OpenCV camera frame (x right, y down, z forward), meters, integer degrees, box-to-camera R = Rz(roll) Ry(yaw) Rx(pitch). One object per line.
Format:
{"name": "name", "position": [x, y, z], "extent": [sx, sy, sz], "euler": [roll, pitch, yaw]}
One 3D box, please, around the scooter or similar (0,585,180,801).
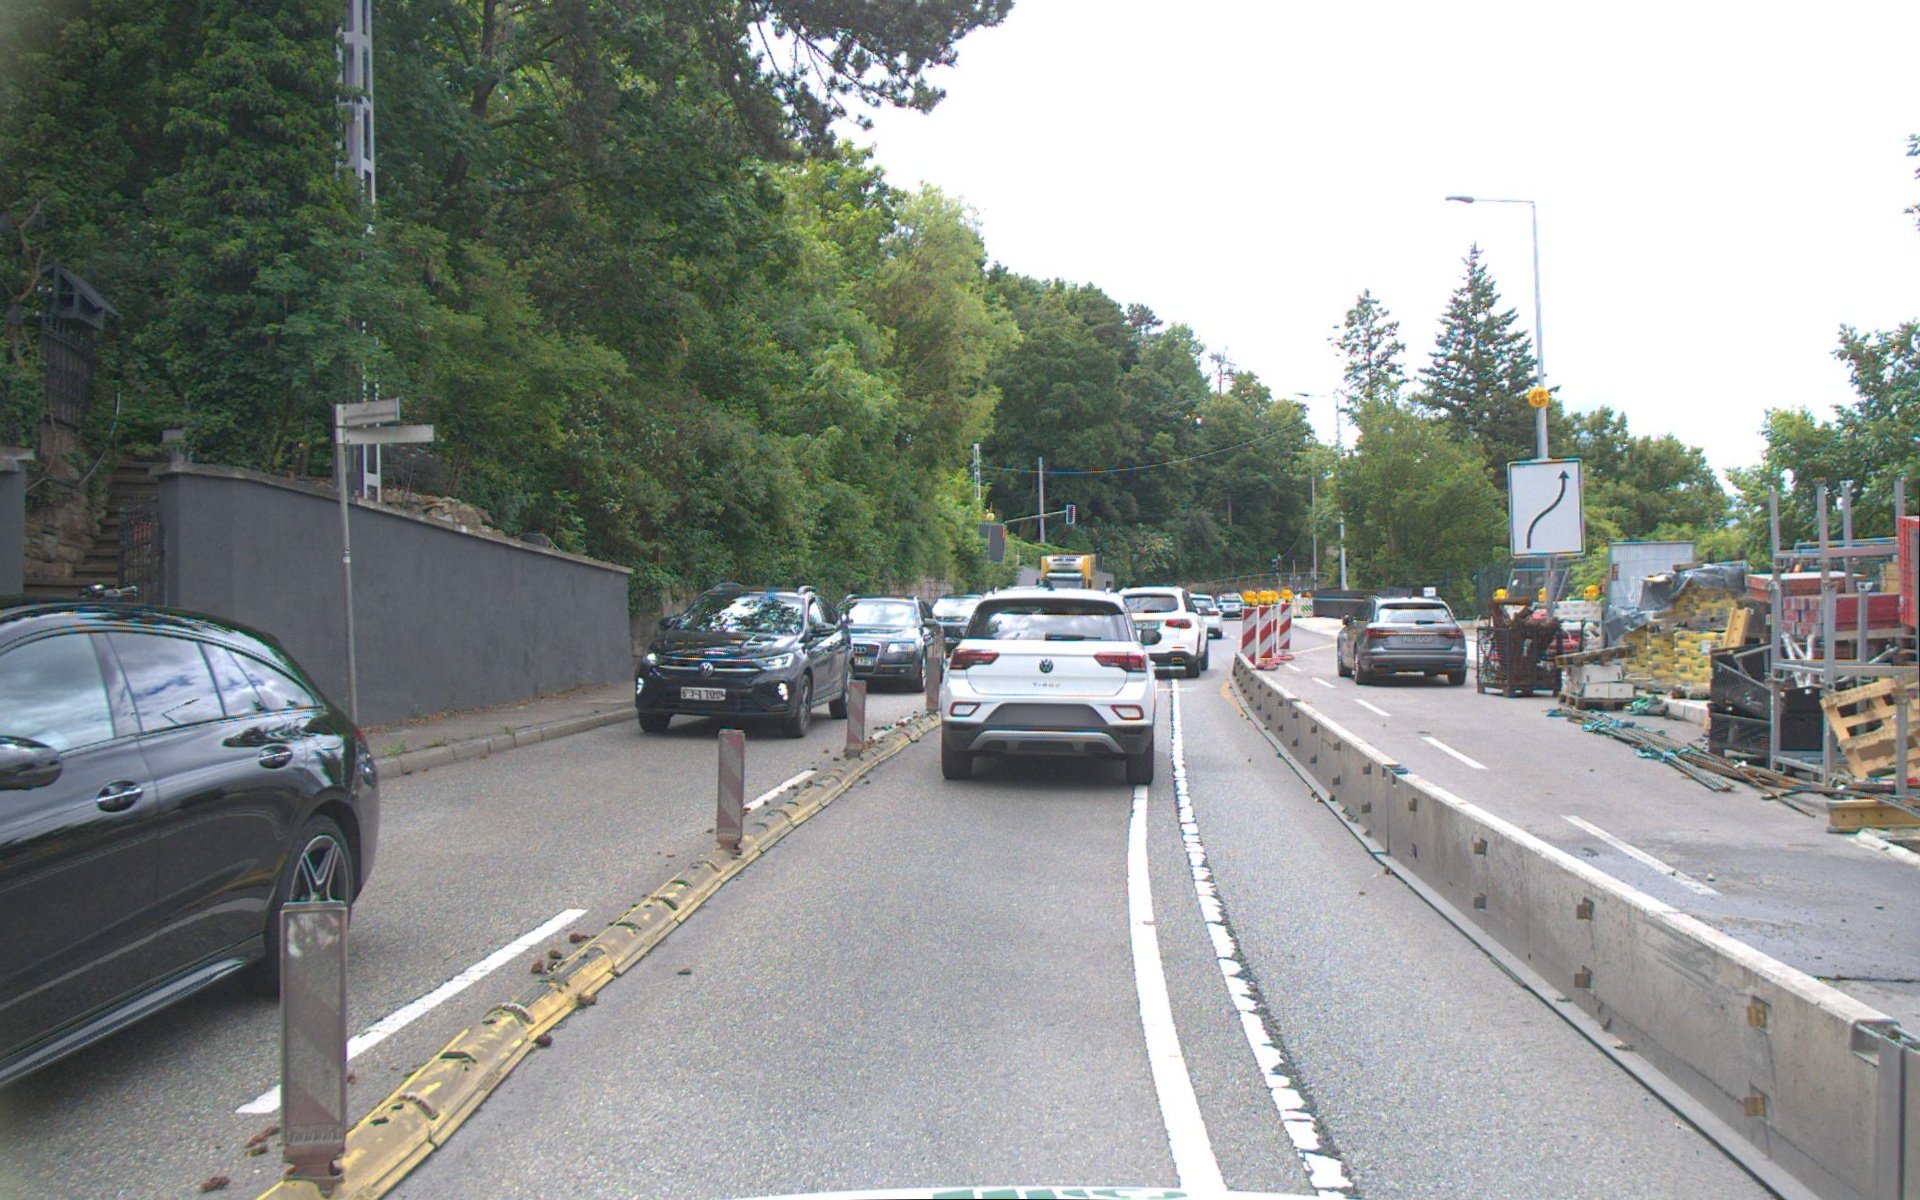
{"name": "scooter or similar", "position": [-5.515, 0.551, 10.117], "extent": [1.289, 1.277, 0.464], "euler": [1, 0, -21]}

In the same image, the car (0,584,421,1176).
{"name": "car", "position": [-3.227, 0.692, 4.679], "extent": [1.730, 1.460, 4.310], "euler": [2, 0, 3]}

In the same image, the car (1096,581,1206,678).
{"name": "car", "position": [3.678, 0.512, 31.332], "extent": [1.771, 1.692, 4.004], "euler": [-1, 0, 11]}

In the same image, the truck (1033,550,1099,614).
{"name": "truck", "position": [5.671, -0.892, 87.461], "extent": [2.842, 3.210, 7.590], "euler": [0, 0, 8]}

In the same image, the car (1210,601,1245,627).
{"name": "car", "position": [15.207, 0.785, 94.256], "extent": [1.756, 1.392, 4.003], "euler": [0, 0, 6]}

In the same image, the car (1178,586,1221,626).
{"name": "car", "position": [10.383, 0.232, 71.947], "extent": [1.771, 1.692, 4.003], "euler": [-1, 0, 7]}

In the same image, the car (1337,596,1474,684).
{"name": "car", "position": [7.519, 0.631, 28.247], "extent": [1.756, 1.392, 4.003], "euler": [0, 0, 8]}

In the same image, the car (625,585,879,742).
{"name": "car", "position": [-2.142, 0.616, 18.283], "extent": [1.730, 1.477, 4.312], "euler": [2, 0, 7]}

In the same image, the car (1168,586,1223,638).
{"name": "car", "position": [8.031, 0.395, 56.333], "extent": [1.771, 1.692, 4.003], "euler": [-1, 0, 9]}

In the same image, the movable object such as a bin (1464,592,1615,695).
{"name": "movable object such as a bin", "position": [8.447, 0.609, 24.213], "extent": [1.368, 1.450, 1.903], "euler": [0, 0, -9]}

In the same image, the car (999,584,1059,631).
{"name": "car", "position": [2.363, 0.244, 55.725], "extent": [1.730, 1.477, 4.311], "euler": [2, 0, 6]}

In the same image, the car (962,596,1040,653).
{"name": "car", "position": [1.209, 0.664, 46.696], "extent": [1.730, 1.477, 4.312], "euler": [2, 0, 7]}

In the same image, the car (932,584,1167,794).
{"name": "car", "position": [0.872, 0.657, 14.613], "extent": [1.771, 1.558, 4.003], "euler": [1, 1, 5]}

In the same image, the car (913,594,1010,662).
{"name": "car", "position": [0.090, 0.633, 39.301], "extent": [1.730, 1.477, 4.312], "euler": [2, 0, 7]}

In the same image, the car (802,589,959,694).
{"name": "car", "position": [-1.172, 0.602, 26.322], "extent": [1.730, 1.477, 4.312], "euler": [2, 0, 7]}
